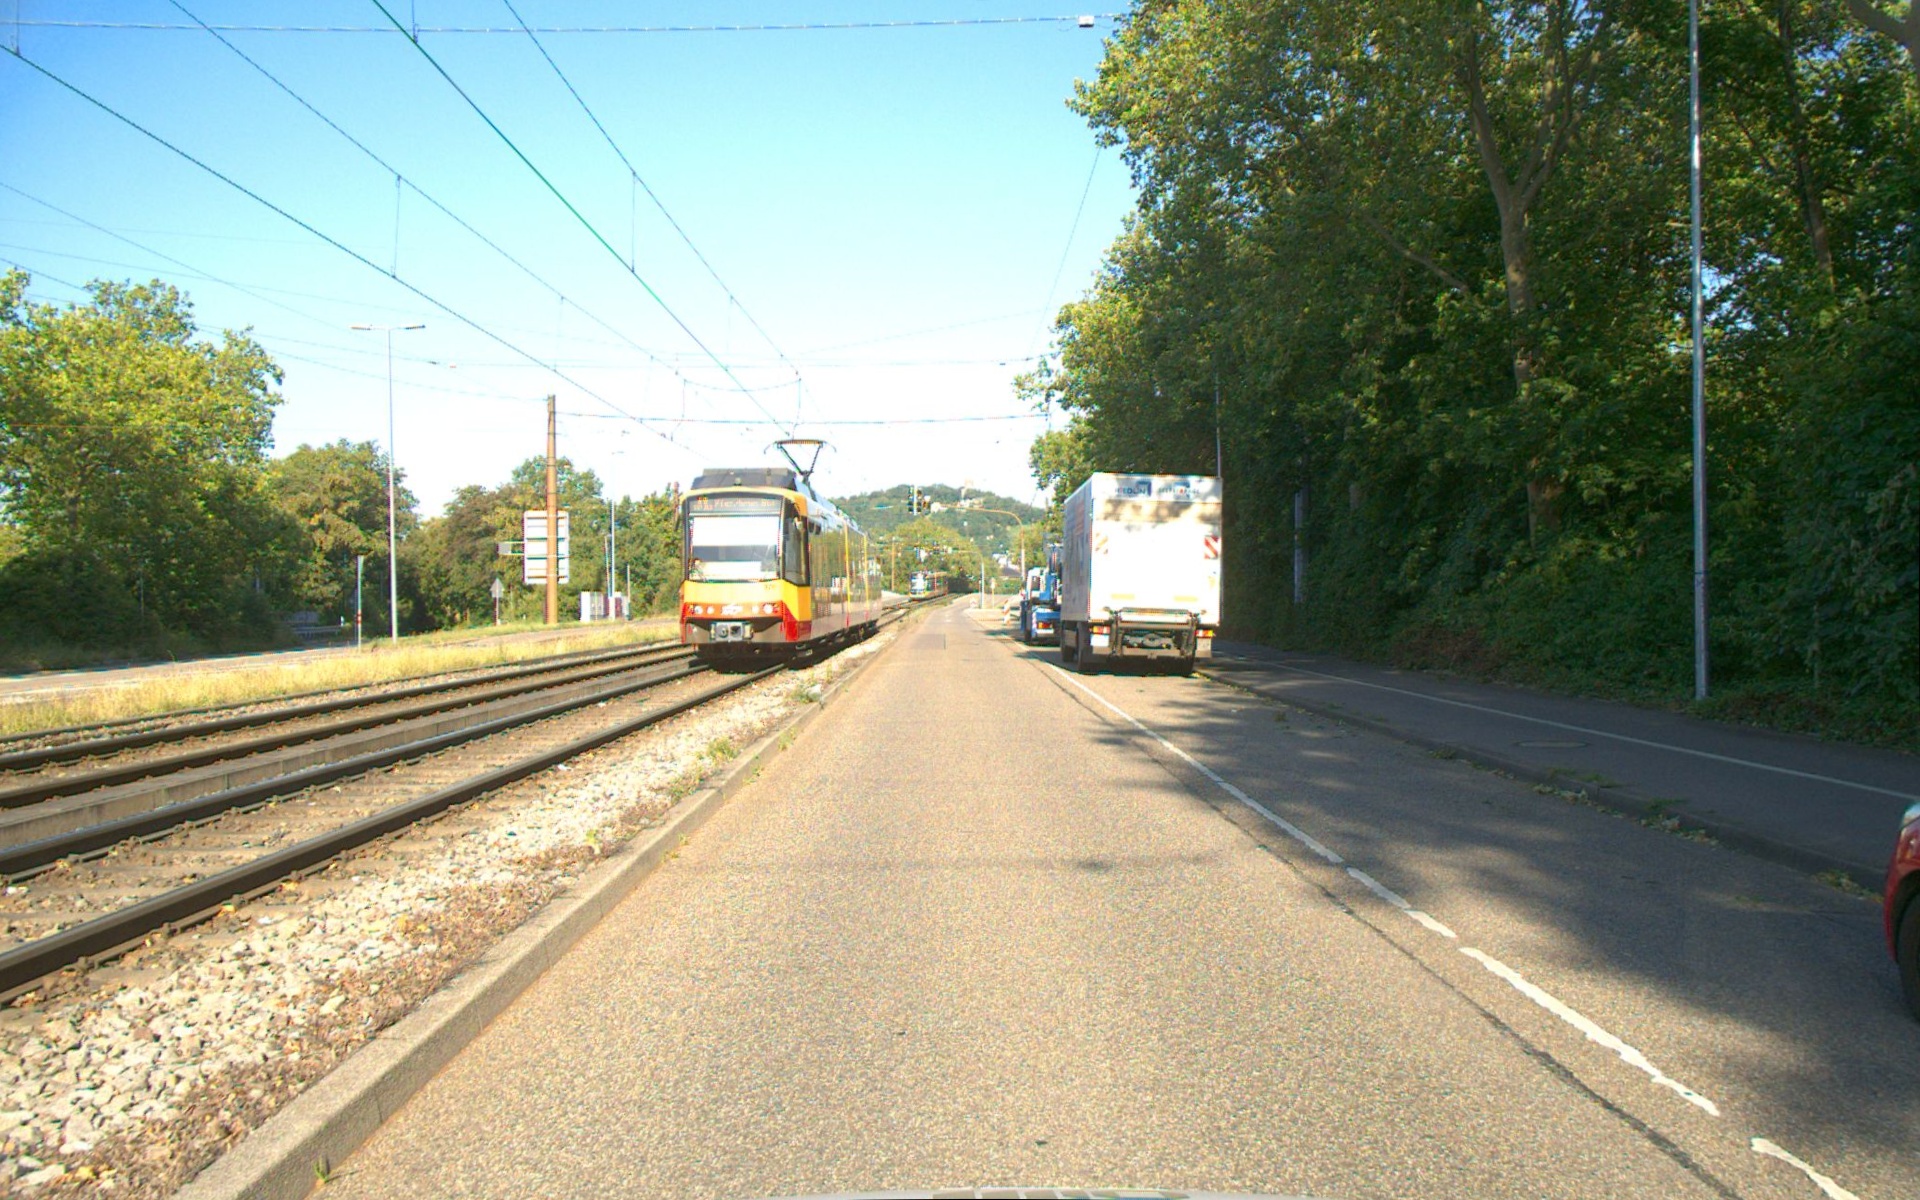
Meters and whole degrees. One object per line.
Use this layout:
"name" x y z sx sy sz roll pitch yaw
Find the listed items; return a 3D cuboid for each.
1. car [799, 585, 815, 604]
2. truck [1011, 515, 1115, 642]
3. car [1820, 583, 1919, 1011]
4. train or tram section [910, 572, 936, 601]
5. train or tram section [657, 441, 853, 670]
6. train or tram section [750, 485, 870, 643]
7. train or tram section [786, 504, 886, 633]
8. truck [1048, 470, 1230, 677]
"car" -17.047 -0.578 184.353 1.690 2.049 3.997 1 -1 -4
"truck" 3.310 -0.674 55.595 2.662 3.849 9.759 1 0 -1
"car" 4.341 0.754 4.931 1.607 1.563 3.640 2 0 0
"train or tram section" -4.814 -1.789 216.382 2.589 3.629 10.836 -1 0 3
"train or tram section" -4.234 -0.852 37.389 2.666 4.162 13.614 -1 0 0
"train or tram section" -4.273 -0.992 49.172 2.639 4.160 9.909 -1 0 0
"train or tram section" -4.339 -1.054 60.527 2.664 4.160 12.812 -1 0 0
"truck" 3.648 -0.524 36.281 2.686 3.849 10.087 1 0 -1
